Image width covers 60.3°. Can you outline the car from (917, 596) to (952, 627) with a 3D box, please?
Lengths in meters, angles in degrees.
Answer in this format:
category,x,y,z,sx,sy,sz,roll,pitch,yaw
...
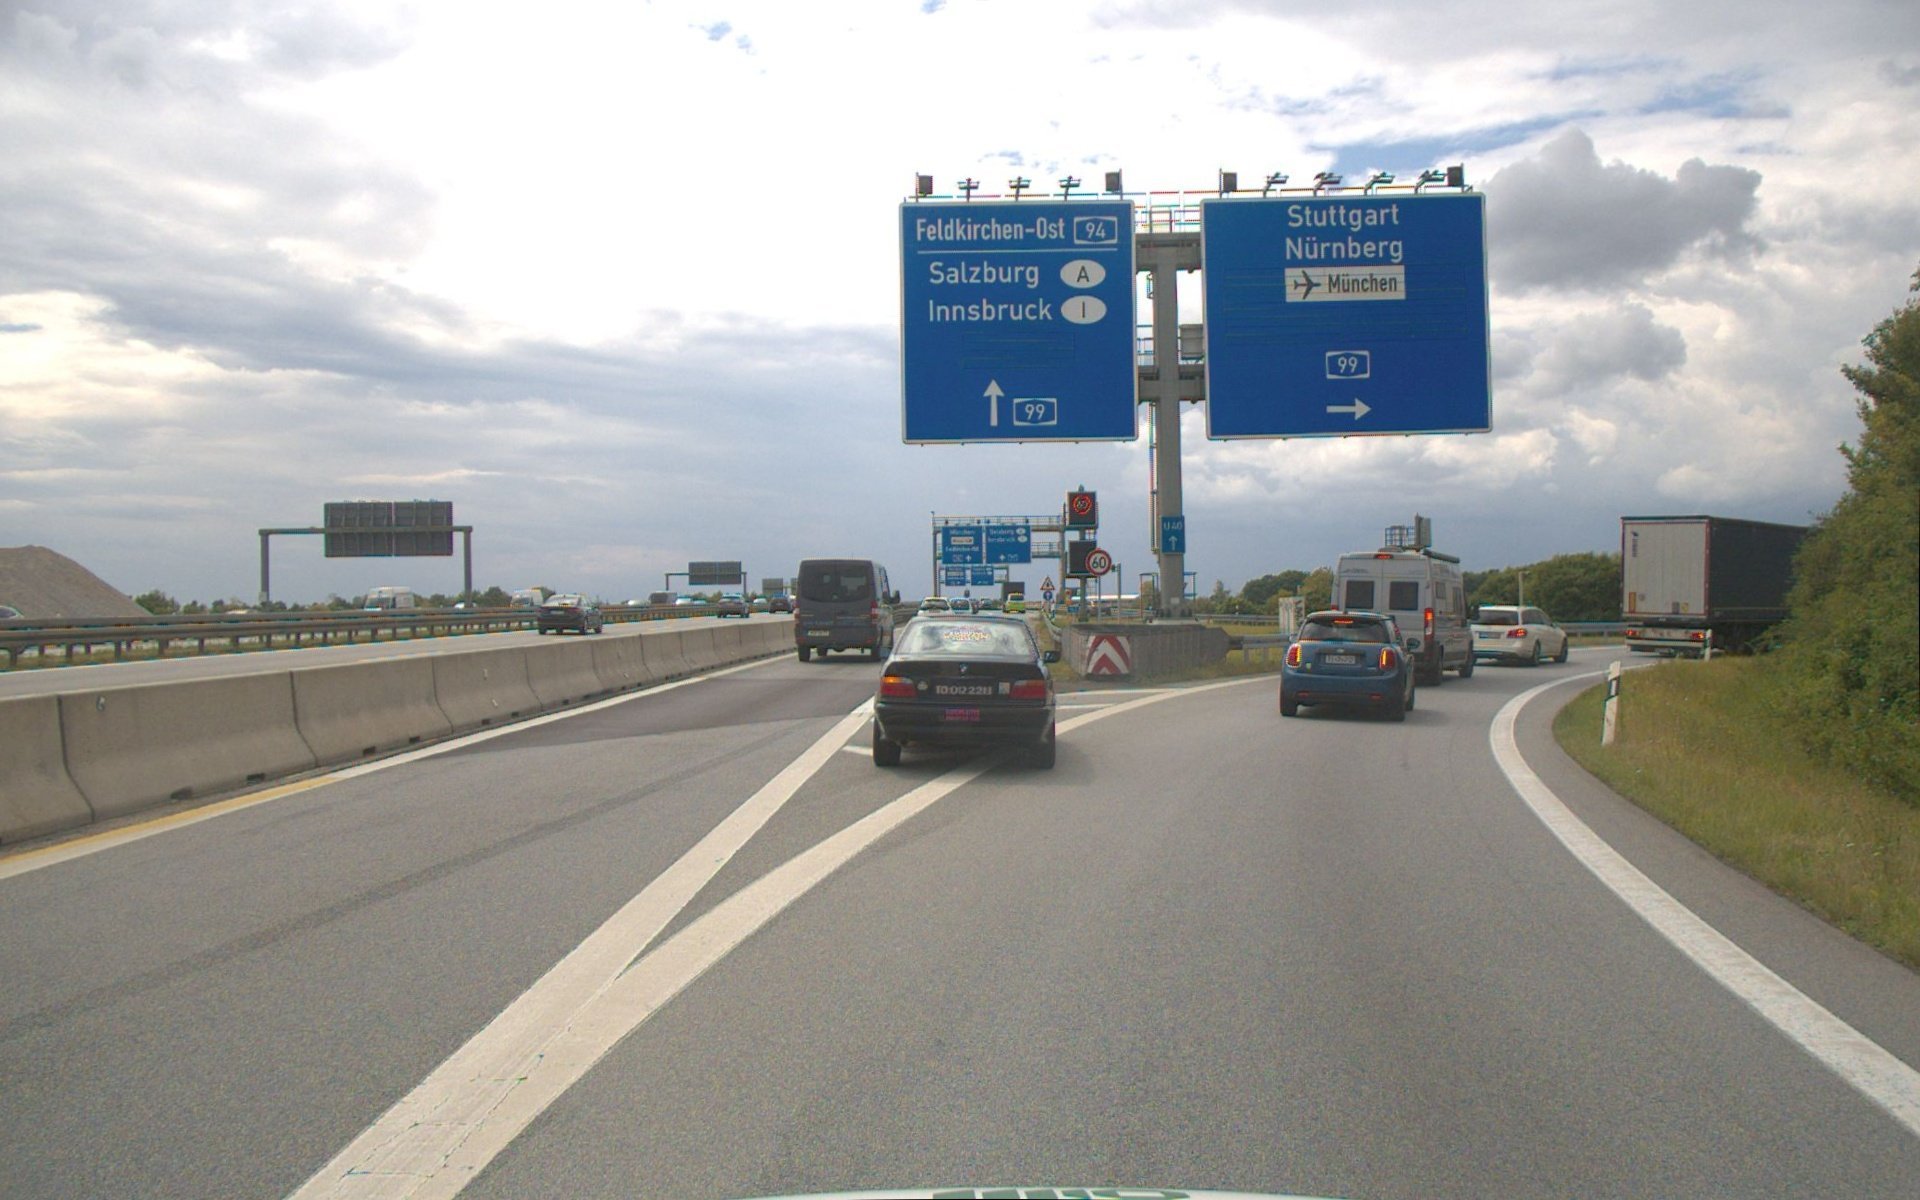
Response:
category,x,y,z,sx,sy,sz,roll,pitch,yaw
car,-1.260,0.551,82.735,1.666,1.534,3.840,0,0,0

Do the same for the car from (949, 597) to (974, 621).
category,x,y,z,sx,sy,sz,roll,pitch,yaw
car,0.121,0.571,107.765,1.552,1.510,3.535,0,0,1

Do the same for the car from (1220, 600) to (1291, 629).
category,x,y,z,sx,sy,sz,roll,pitch,yaw
car,19.055,0.921,106.778,1.983,1.803,4.183,0,0,-41

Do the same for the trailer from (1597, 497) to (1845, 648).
category,x,y,z,sx,sy,sz,roll,pitch,yaw
trailer,24.489,-0.757,52.651,3.284,4.266,12.946,0,0,43

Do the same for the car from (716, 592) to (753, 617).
category,x,y,z,sx,sy,sz,roll,pitch,yaw
car,-15.446,0.275,113.412,1.862,1.669,4.645,0,0,0

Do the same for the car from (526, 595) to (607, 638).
category,x,y,z,sx,sy,sz,roll,pitch,yaw
car,-14.914,0.600,62.961,2.017,1.554,4.567,0,0,-1

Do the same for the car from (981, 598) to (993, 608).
category,x,y,z,sx,sy,sz,roll,pitch,yaw
car,4.033,0.434,248.872,1.765,1.449,4.001,0,0,2

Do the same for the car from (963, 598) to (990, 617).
category,x,y,z,sx,sy,sz,roll,pitch,yaw
car,1.373,0.576,133.235,1.951,1.494,4.002,0,0,4

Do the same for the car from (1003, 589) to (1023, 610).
category,x,y,z,sx,sy,sz,roll,pitch,yaw
car,5.392,-0.042,168.747,1.953,2.049,3.999,0,0,-1

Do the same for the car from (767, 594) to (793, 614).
category,x,y,z,sx,sy,sz,roll,pitch,yaw
car,-15.925,0.354,146.659,1.862,1.667,4.233,1,0,0

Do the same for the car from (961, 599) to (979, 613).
category,x,y,z,sx,sy,sz,roll,pitch,yaw
car,1.085,0.576,171.679,1.827,1.449,4.001,0,0,1

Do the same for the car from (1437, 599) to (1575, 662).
category,x,y,z,sx,sy,sz,roll,pitch,yaw
car,14.224,0.756,42.940,2.168,1.527,4.771,0,0,35

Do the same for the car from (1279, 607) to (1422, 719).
category,x,y,z,sx,sy,sz,roll,pitch,yaw
car,5.687,0.850,23.822,1.693,1.444,3.667,1,0,18

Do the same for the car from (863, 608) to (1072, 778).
category,x,y,z,sx,sy,sz,roll,pitch,yaw
car,0.104,0.790,15.934,1.745,1.402,4.137,0,0,1

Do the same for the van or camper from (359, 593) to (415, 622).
category,x,y,z,sx,sy,sz,roll,pitch,yaw
van or camper,-42.268,0.537,122.116,2.190,2.049,6.274,0,0,-3

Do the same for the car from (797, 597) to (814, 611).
category,x,y,z,sx,sy,sz,roll,pitch,yaw
car,-16.801,0.433,180.191,1.521,1.400,4.000,1,0,0

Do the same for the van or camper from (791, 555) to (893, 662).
category,x,y,z,sx,sy,sz,roll,pitch,yaw
van or camper,-2.765,0.185,40.132,1.958,2.412,6.126,0,0,1

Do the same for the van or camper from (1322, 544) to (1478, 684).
category,x,y,z,sx,sy,sz,roll,pitch,yaw
van or camper,9.228,0.256,34.256,2.247,2.613,6.158,0,0,23
